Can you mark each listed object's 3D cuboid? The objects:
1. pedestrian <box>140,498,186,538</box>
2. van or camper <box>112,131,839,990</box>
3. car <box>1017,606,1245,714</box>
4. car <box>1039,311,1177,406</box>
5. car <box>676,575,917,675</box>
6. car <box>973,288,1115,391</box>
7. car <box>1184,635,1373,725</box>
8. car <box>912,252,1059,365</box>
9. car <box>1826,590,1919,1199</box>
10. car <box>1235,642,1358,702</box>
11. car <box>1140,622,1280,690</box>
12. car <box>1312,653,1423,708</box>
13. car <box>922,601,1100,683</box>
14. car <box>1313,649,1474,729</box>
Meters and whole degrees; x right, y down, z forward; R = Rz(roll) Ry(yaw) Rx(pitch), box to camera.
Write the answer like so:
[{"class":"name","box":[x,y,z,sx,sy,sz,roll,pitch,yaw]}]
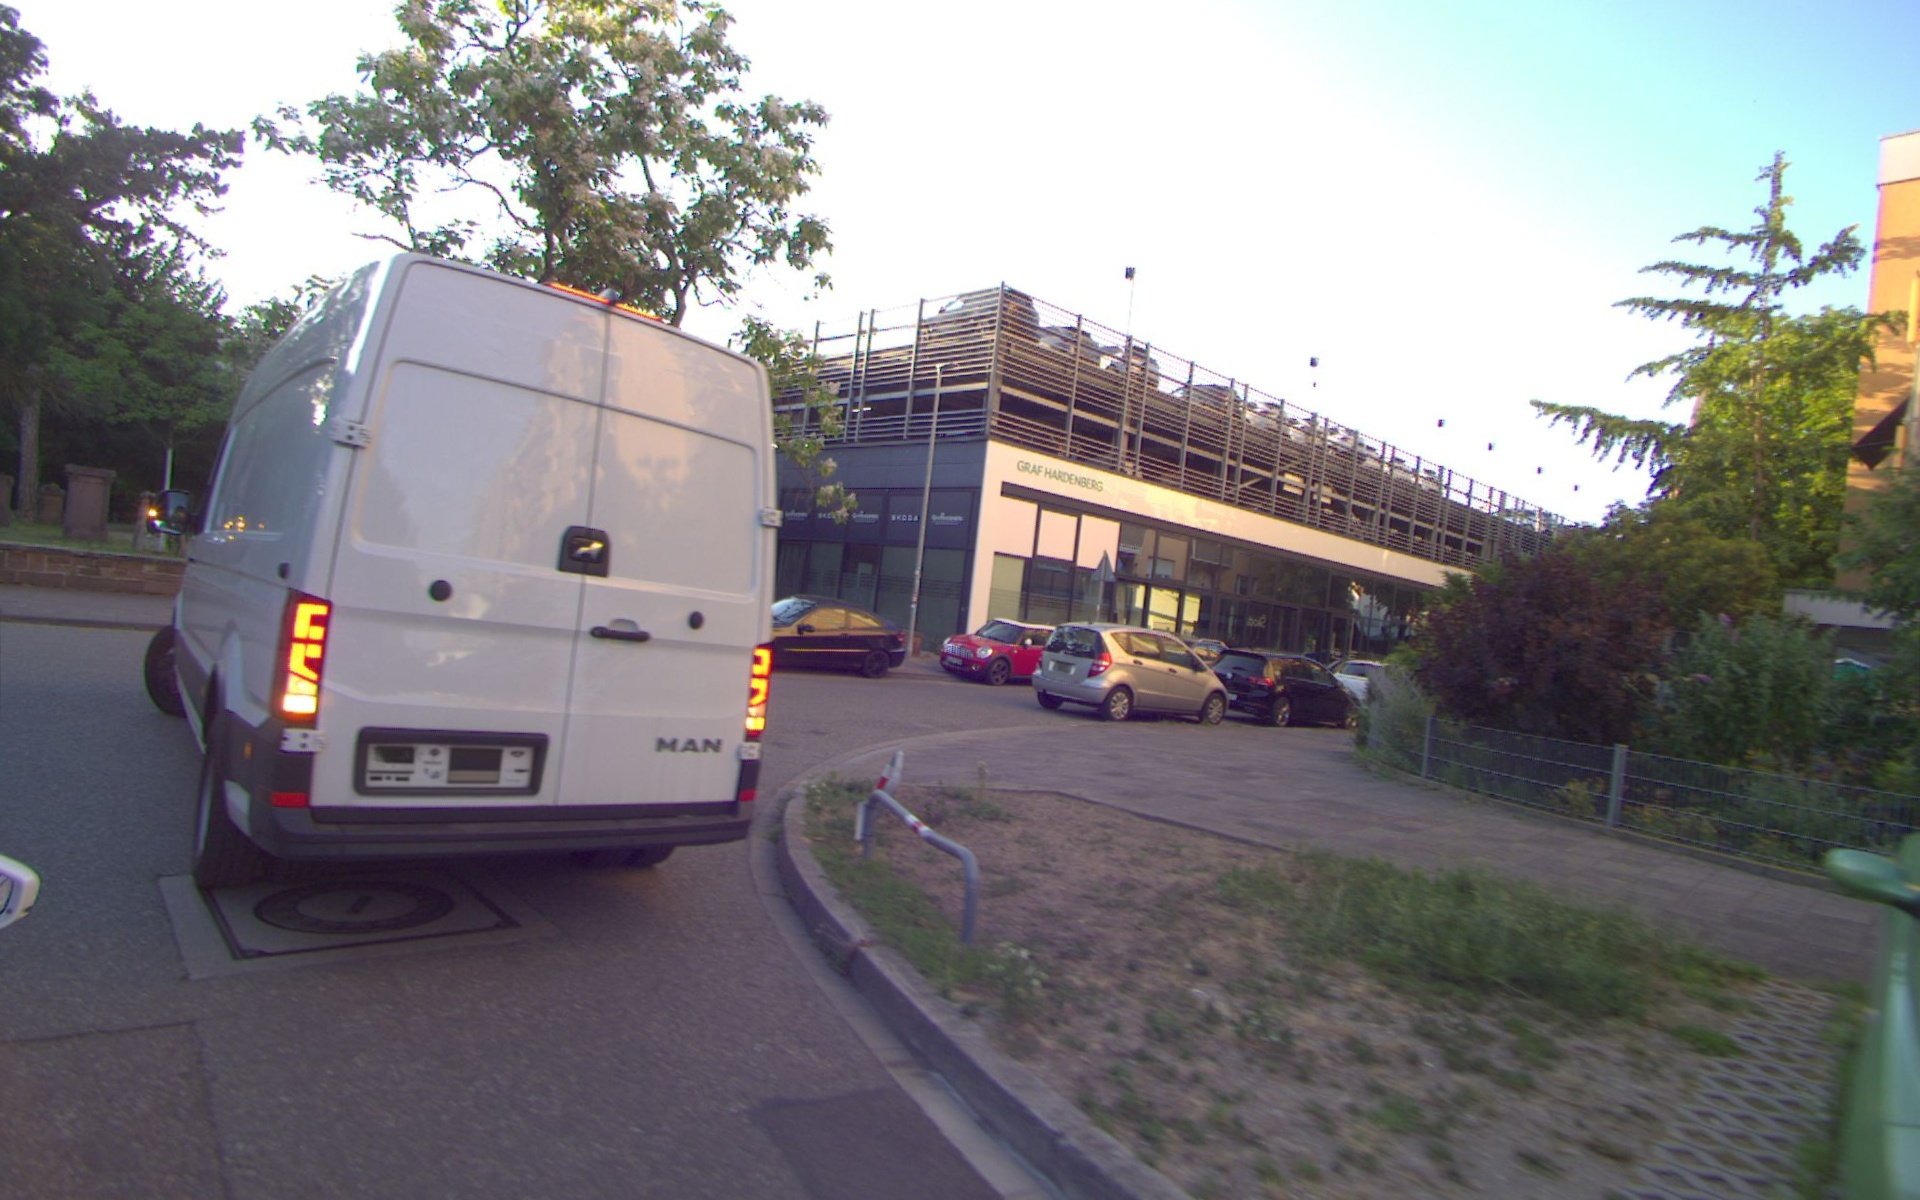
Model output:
[{"class":"pedestrian","box":[-33.608,-3.443,42.440,1.324,1.462,1.033,6,1,-45]},{"class":"van or camper","box":[-3.532,-0.214,6.100,1.988,2.649,6.326,8,-2,-42]},{"class":"car","box":[3.065,1.092,17.739,3.819,1.543,1.803,6,1,-40]},{"class":"car","box":[4.713,-7.696,32.452,1.985,2.037,3.958,8,-1,-38]},{"class":"car","box":[-3.140,0.526,19.834,4.272,1.522,1.803,6,1,-40]},{"class":"car","box":[2.501,-7.864,30.814,1.985,2.037,3.958,8,-1,-38]},{"class":"car","box":[6.551,1.658,20.536,3.819,1.481,1.803,6,1,-40]},{"class":"car","box":[0.667,-8.306,29.059,1.985,2.037,3.958,8,-1,-38]},{"class":"car","box":[3.738,1.003,2.760,1.822,1.651,4.391,4,-1,44]},{"class":"car","box":[10.584,2.271,31.546,3.819,1.522,1.803,6,1,-40]},{"class":"car","box":[7.063,1.592,28.313,3.819,1.522,1.803,6,1,-40]},{"class":"car","box":[13.957,2.768,34.409,3.819,1.522,1.803,6,1,-40]},{"class":"car","box":[1.222,1.001,23.377,3.819,1.522,1.803,6,1,-40]},{"class":"car","box":[10.222,2.105,23.624,3.819,1.548,1.803,6,1,-40]}]
